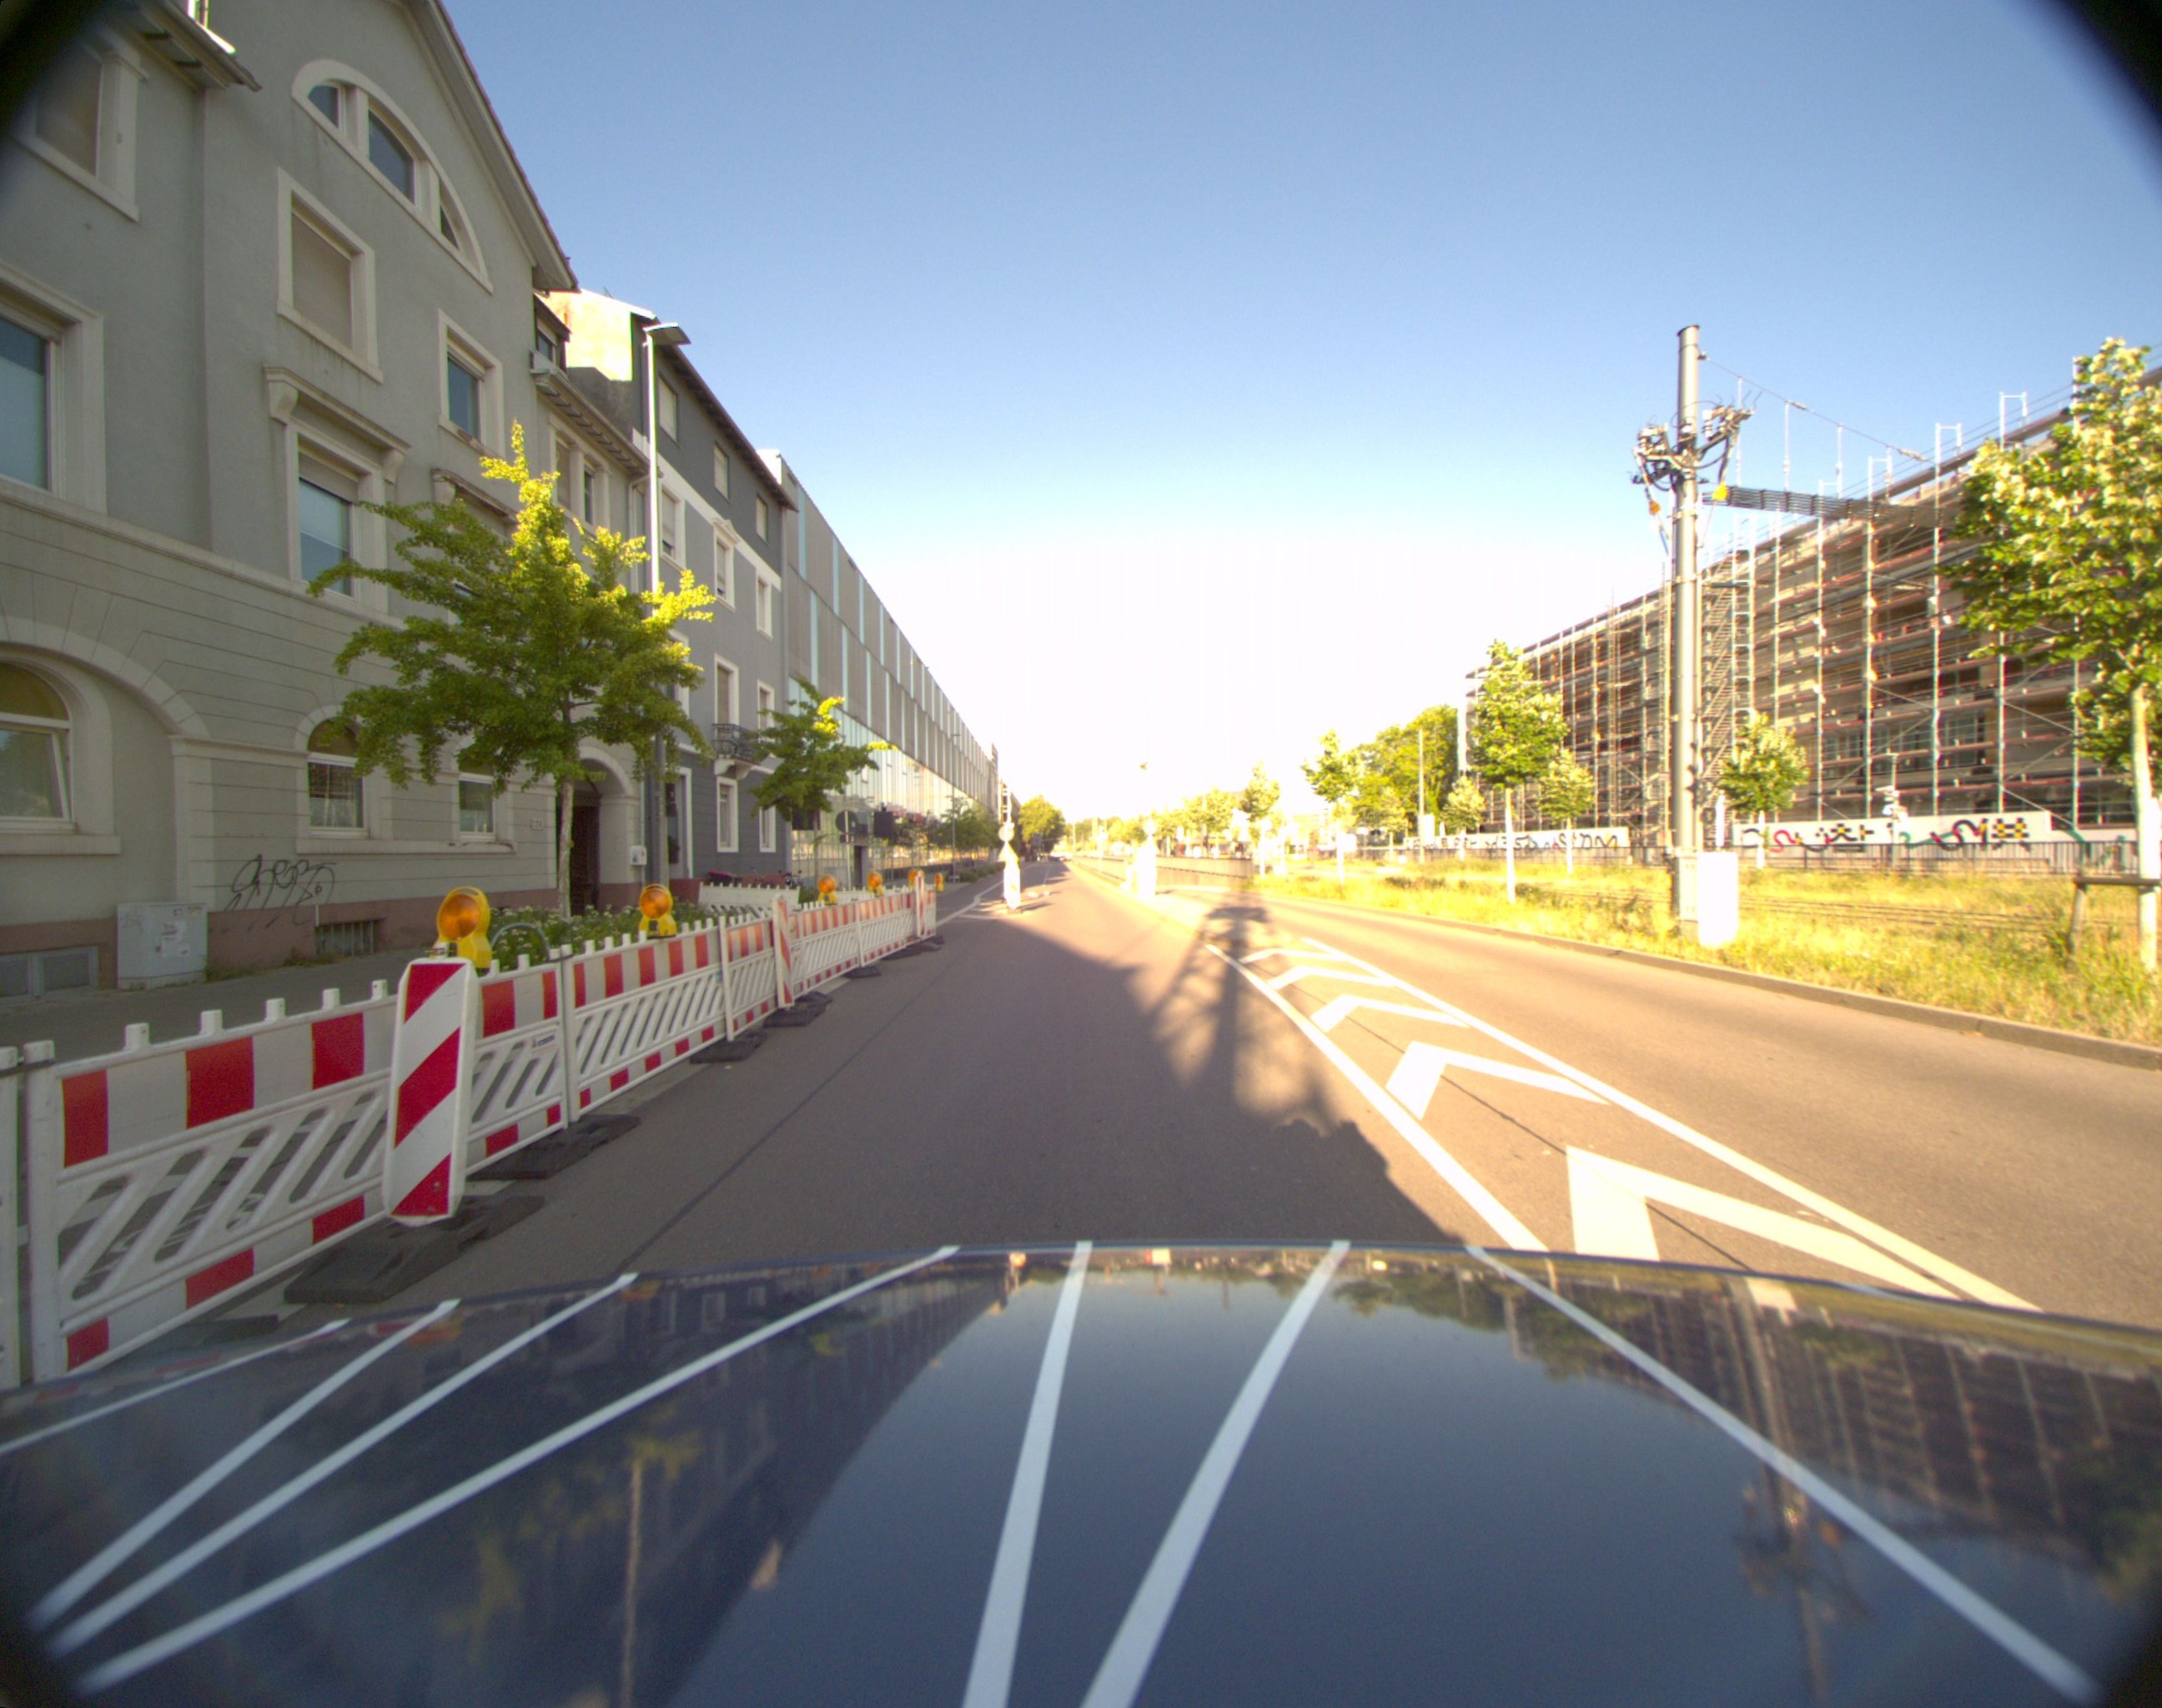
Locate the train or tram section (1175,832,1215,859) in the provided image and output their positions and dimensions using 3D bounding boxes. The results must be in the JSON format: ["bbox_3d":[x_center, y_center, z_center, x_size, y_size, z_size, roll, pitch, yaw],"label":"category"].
[{"bbox_3d":[15.966,-1.217,107.988,2.954,3.378,14.761,-2,1,-2],"label":"train or tram section"}]

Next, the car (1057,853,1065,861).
[{"bbox_3d":[-4.906,0.803,187.287,1.941,2.002,3.825,-1,0,-3],"label":"car"}]

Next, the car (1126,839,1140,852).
[{"bbox_3d":[8.616,-1.409,125.945,1.998,2.002,3.999,-2,1,1],"label":"car"}]

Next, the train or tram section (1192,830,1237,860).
[{"bbox_3d":[16.351,-1.078,94.334,2.954,3.378,12.630,-2,1,-2],"label":"train or tram section"}]

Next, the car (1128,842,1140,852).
[{"bbox_3d":[9.878,-1.357,142.695,1.998,1.740,3.999,-2,1,1],"label":"car"}]
